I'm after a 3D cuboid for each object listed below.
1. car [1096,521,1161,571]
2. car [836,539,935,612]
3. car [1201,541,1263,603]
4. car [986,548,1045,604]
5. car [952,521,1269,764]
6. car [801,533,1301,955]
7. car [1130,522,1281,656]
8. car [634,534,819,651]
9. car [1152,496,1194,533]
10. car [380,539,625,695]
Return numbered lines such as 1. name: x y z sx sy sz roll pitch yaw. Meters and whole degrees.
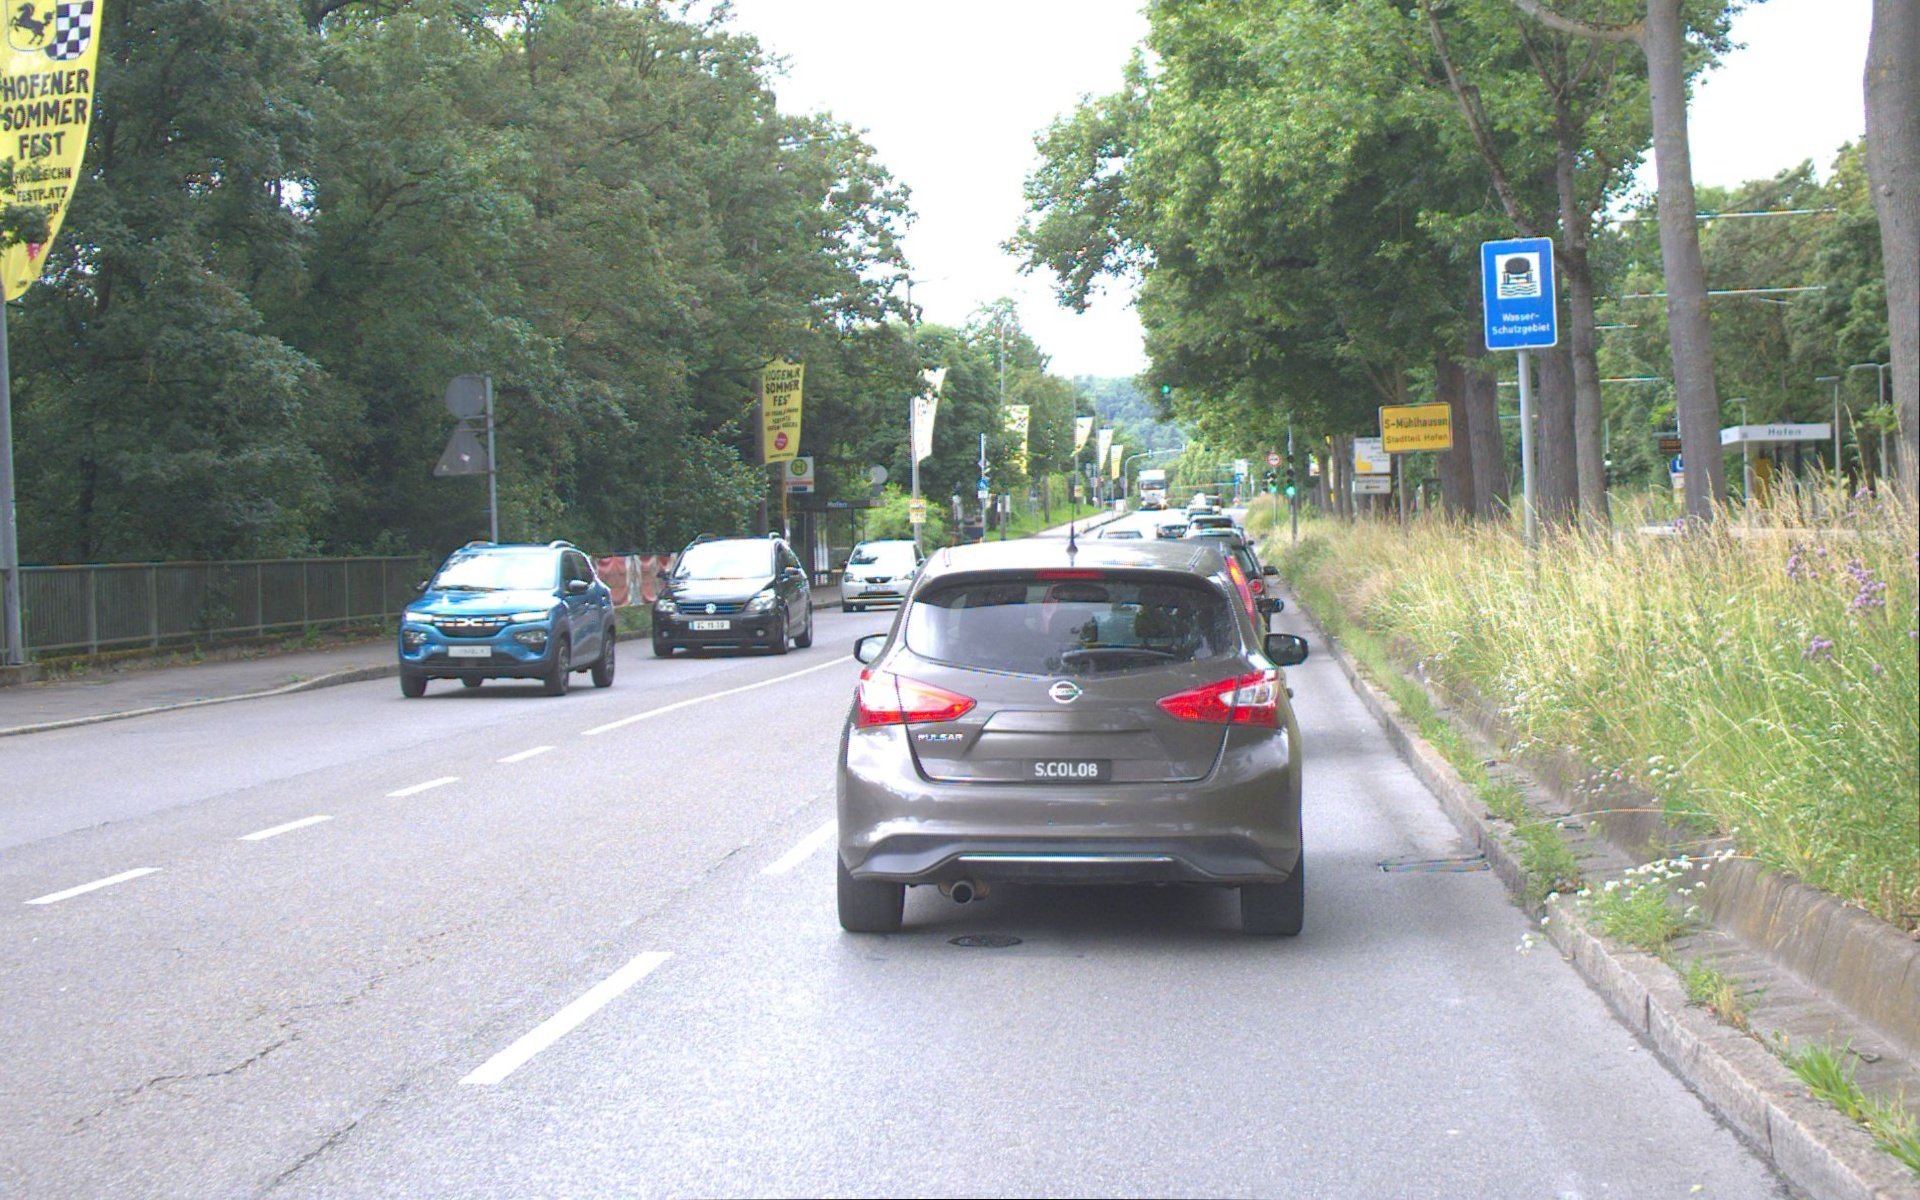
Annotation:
1. car: 5.434 -1.720 110.176 1.852 1.481 4.420 -1 0 5
2. car: -1.556 -0.500 72.828 1.752 1.415 3.999 -1 -1 3
3. car: 7.994 -0.808 101.160 1.718 1.687 3.999 -1 -1 4
4. car: 1.818 -0.770 111.601 1.718 1.687 3.725 -1 -1 4
5. car: 0.979 0.281 24.392 1.892 1.568 4.000 0 0 -3
6. car: 0.416 0.522 14.297 1.775 1.489 4.000 1 0 3
7. car: 3.002 -0.145 42.581 1.578 1.533 4.000 -2 0 1
8. car: -3.088 -0.134 46.281 1.818 1.457 3.999 -1 1 6
9. car: 9.209 -3.702 148.501 1.718 1.396 3.725 -1 -1 4
10. car: -4.526 0.194 34.508 1.721 1.437 3.999 -1 -1 3
